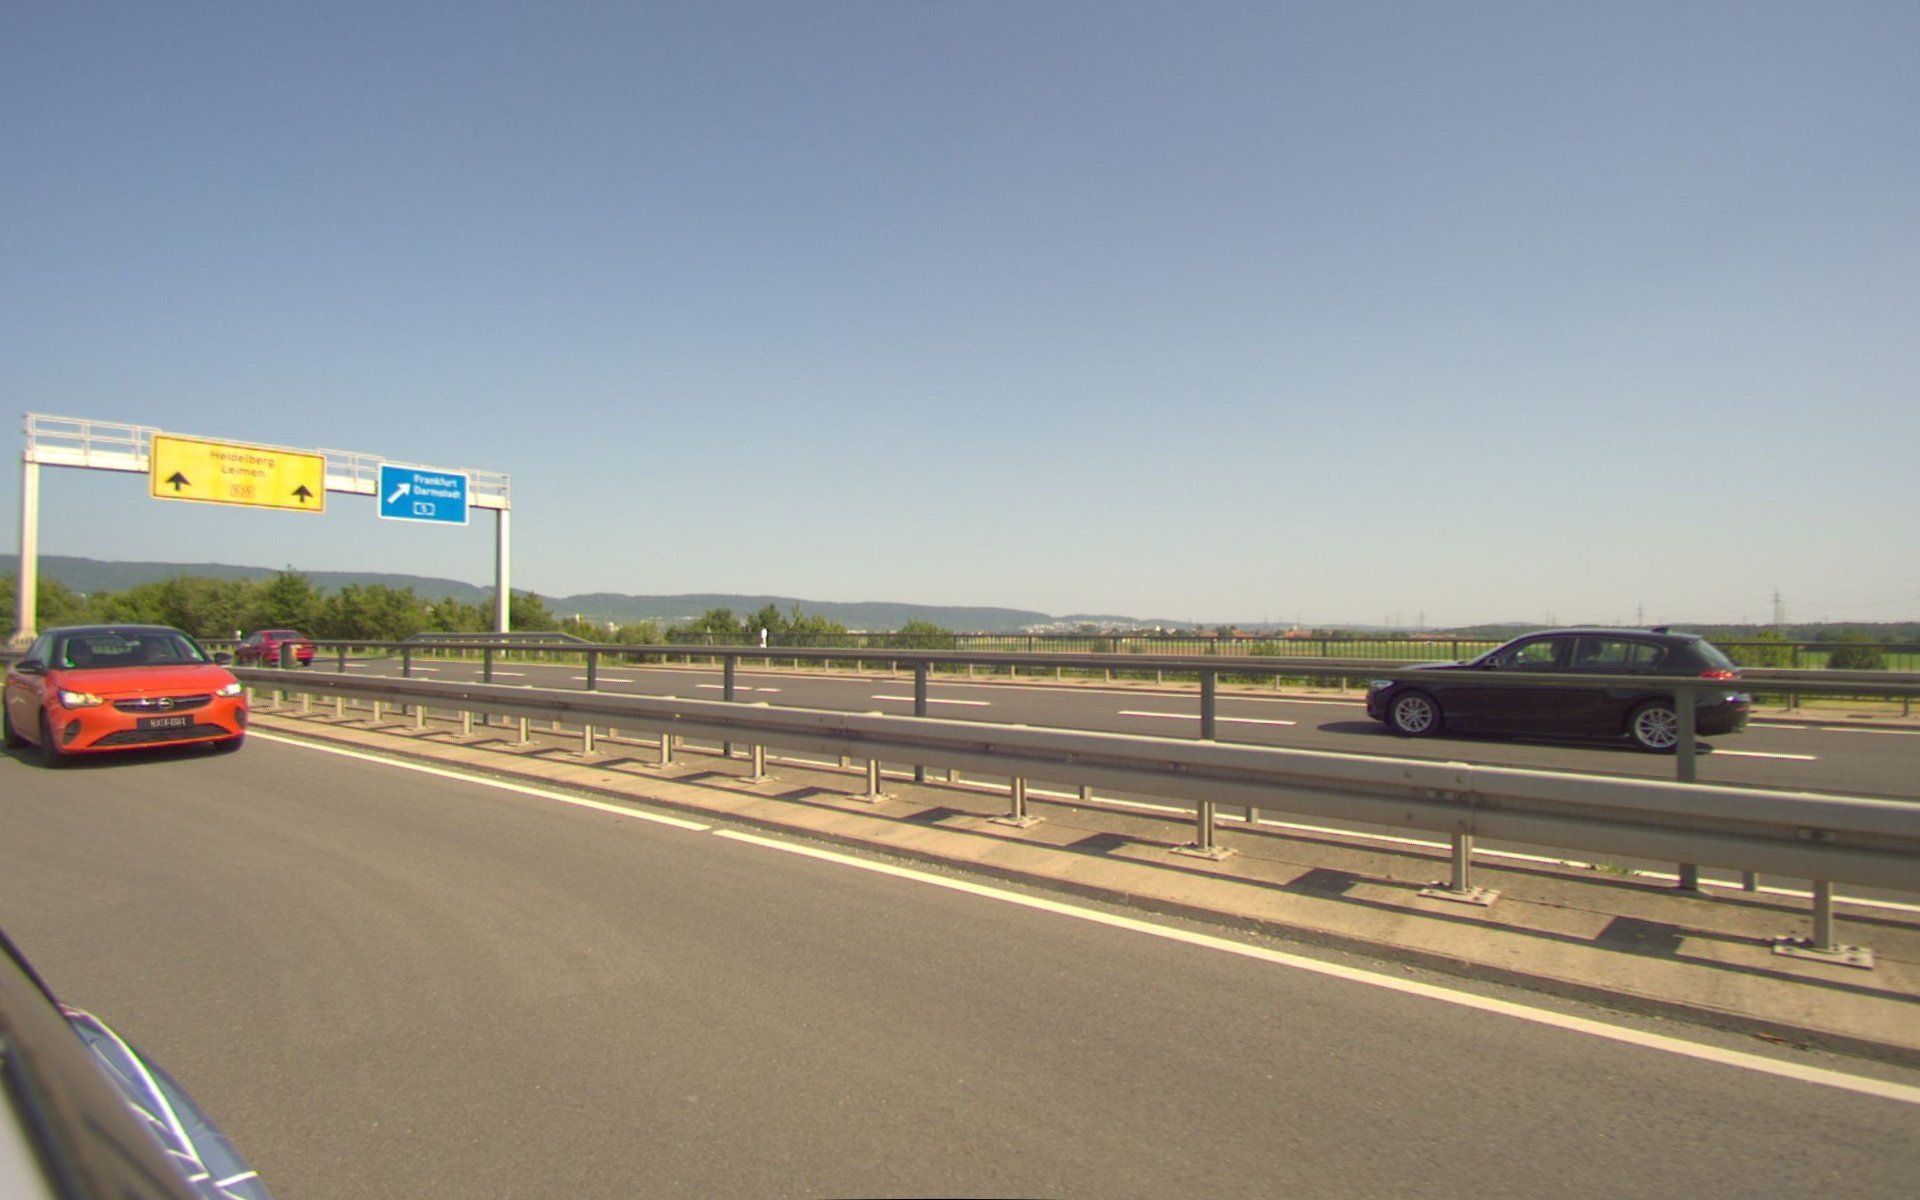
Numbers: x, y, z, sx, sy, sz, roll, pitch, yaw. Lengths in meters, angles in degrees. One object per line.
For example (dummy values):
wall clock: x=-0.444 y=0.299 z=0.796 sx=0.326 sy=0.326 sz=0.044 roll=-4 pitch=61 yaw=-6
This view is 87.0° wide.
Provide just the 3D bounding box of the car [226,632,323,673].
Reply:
car: x=-26.407 y=1.998 z=38.944 sx=4.525 sy=1.439 sz=1.807 roll=-2 pitch=-1 yaw=38

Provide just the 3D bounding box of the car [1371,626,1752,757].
car: x=7.624 y=1.071 z=13.030 sx=3.994 sy=1.394 sz=1.762 roll=-2 pitch=-1 yaw=38

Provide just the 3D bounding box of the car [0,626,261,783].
car: x=-9.720 y=1.063 z=11.620 sx=4.408 sy=1.448 sz=1.692 roll=-2 pitch=-1 yaw=40
